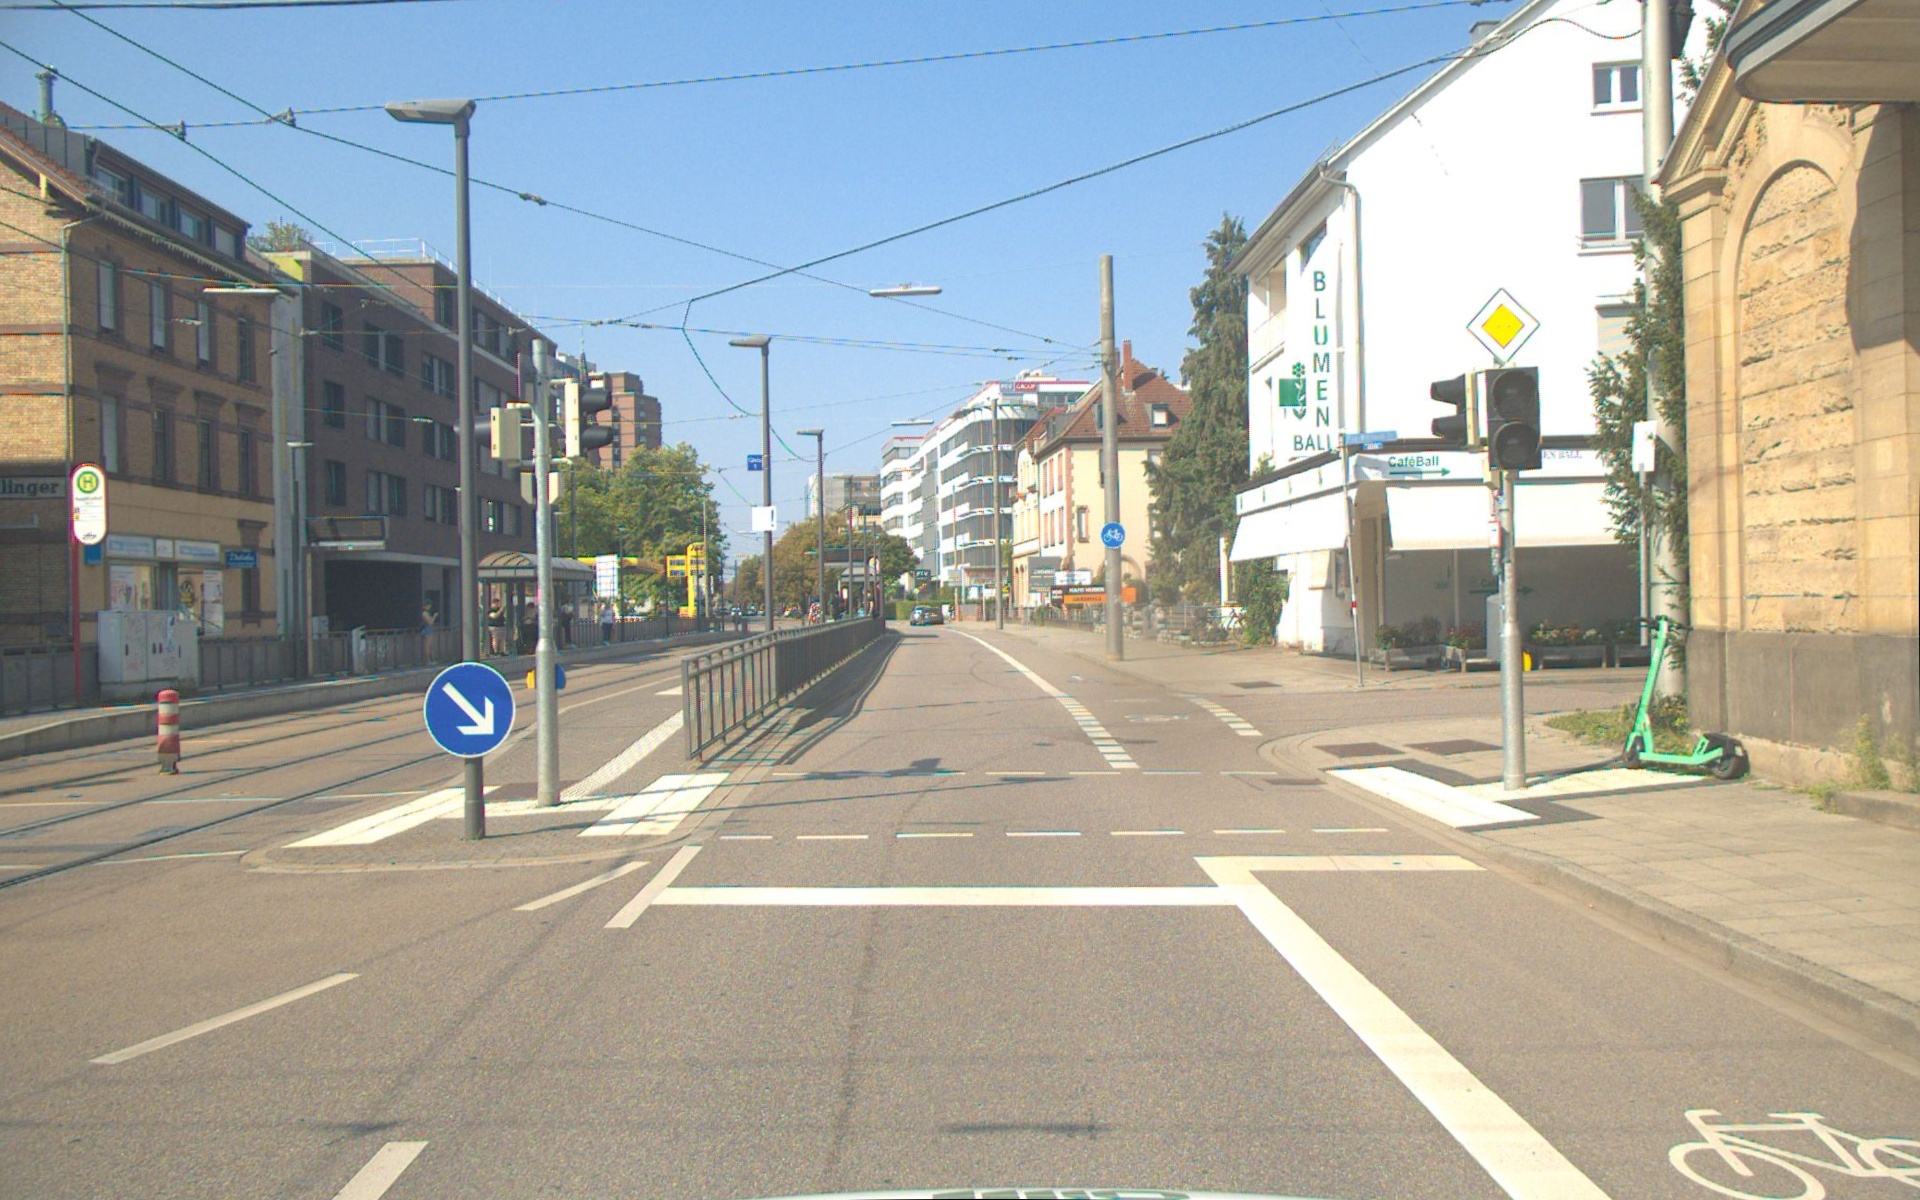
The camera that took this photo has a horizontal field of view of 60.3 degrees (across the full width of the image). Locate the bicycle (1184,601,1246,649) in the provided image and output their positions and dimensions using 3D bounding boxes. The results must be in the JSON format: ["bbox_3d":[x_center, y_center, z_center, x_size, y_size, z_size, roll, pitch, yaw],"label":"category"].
[{"bbox_3d":[6.642,0.657,43.246,0.717,1.152,2.834,-5,0,-8],"label":"bicycle"}]

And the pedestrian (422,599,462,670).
[{"bbox_3d":[-13.160,0.874,42.020,0.693,1.753,0.799,-3,-1,-1],"label":"pedestrian"}]

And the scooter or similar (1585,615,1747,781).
[{"bbox_3d":[5.331,0.706,12.577,0.512,1.153,1.511,-3,0,-1],"label":"scooter or similar"}]

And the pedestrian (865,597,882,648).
[{"bbox_3d":[-3.018,0.785,57.714,0.526,1.732,0.581,-3,-1,-4],"label":"pedestrian"}]

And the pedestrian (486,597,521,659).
[{"bbox_3d":[-13.365,0.822,48.442,0.693,1.777,0.799,-3,-1,-1],"label":"pedestrian"}]

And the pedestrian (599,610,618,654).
[{"bbox_3d":[-12.681,1.157,59.677,0.522,1.556,0.700,-3,-1,-7],"label":"pedestrian"}]

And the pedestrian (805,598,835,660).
[{"bbox_3d":[-4.072,0.840,48.215,0.705,1.732,0.884,-3,-1,0],"label":"pedestrian"}]

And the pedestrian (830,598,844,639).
[{"bbox_3d":[-5.312,0.817,71.579,0.526,1.732,0.581,-3,-1,-4],"label":"pedestrian"}]

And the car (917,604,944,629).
[{"bbox_3d":[-2.355,1.345,133.205,1.970,1.891,4.000,-3,0,0],"label":"car"}]

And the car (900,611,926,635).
[{"bbox_3d":[-3.927,1.898,139.386,1.970,1.891,4.000,-3,0,0],"label":"car"}]

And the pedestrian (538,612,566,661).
[{"bbox_3d":[-12.786,1.132,51.824,0.685,1.493,0.534,-3,-2,1],"label":"pedestrian"}]
